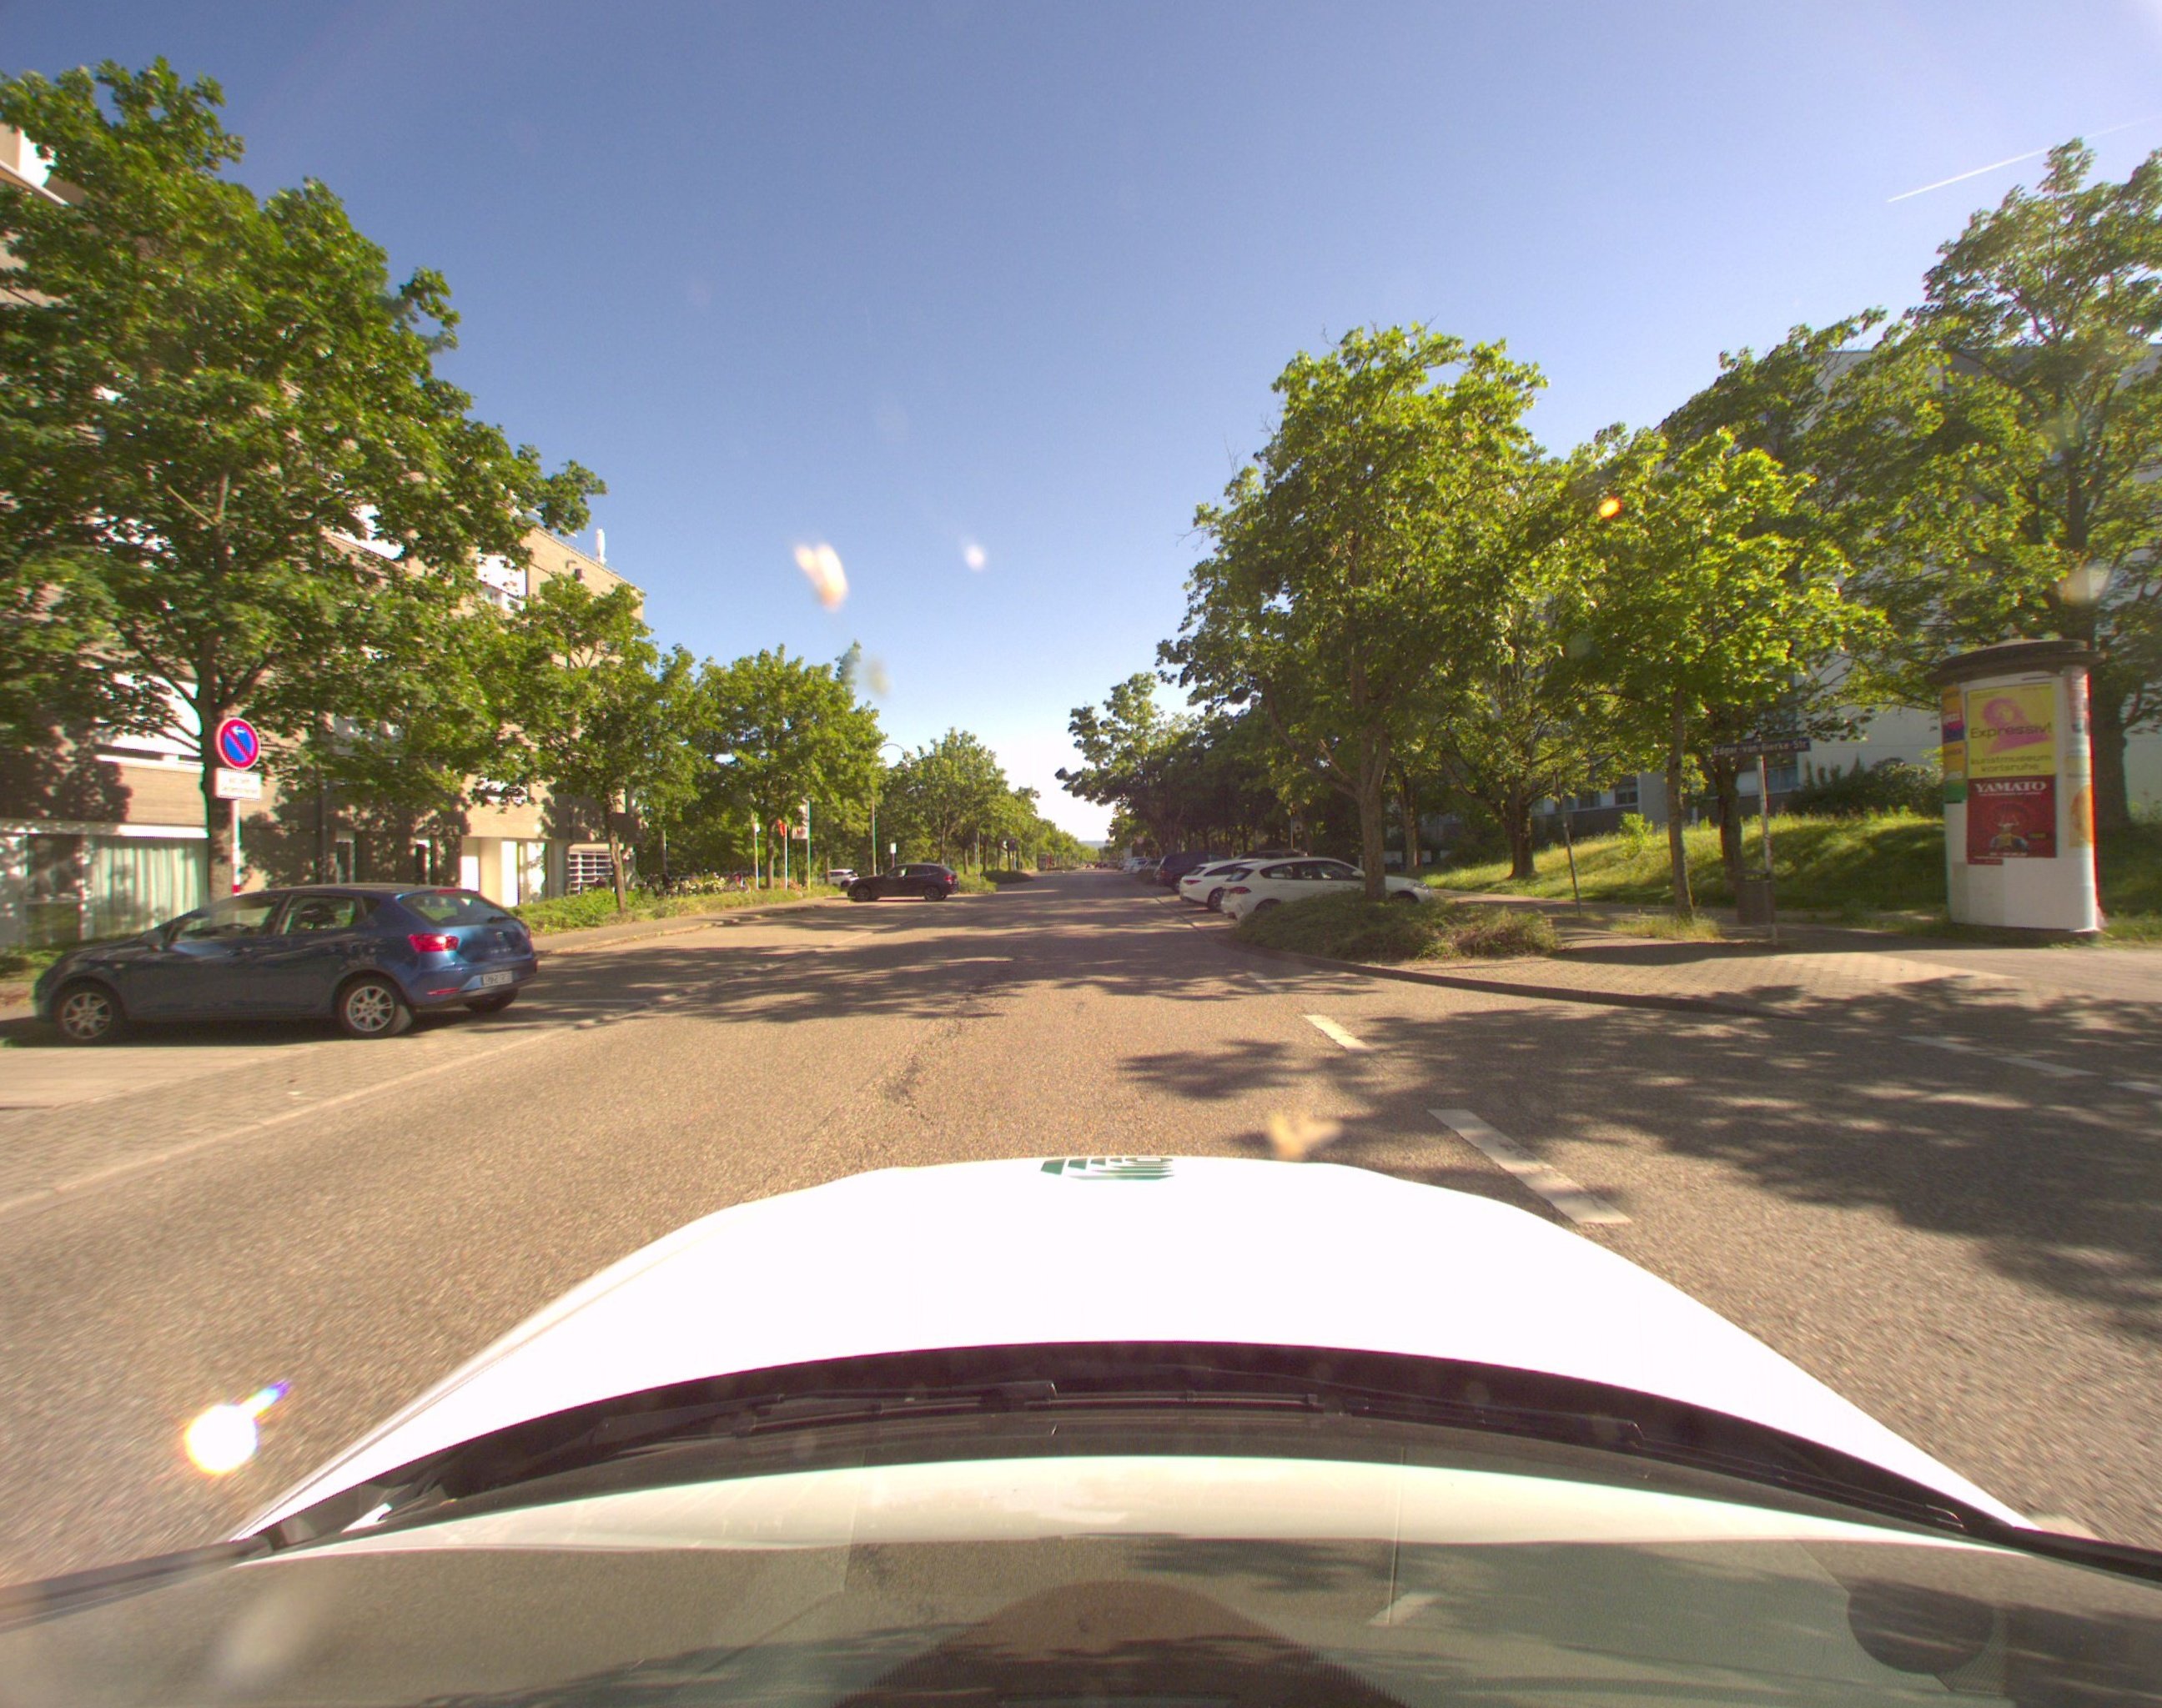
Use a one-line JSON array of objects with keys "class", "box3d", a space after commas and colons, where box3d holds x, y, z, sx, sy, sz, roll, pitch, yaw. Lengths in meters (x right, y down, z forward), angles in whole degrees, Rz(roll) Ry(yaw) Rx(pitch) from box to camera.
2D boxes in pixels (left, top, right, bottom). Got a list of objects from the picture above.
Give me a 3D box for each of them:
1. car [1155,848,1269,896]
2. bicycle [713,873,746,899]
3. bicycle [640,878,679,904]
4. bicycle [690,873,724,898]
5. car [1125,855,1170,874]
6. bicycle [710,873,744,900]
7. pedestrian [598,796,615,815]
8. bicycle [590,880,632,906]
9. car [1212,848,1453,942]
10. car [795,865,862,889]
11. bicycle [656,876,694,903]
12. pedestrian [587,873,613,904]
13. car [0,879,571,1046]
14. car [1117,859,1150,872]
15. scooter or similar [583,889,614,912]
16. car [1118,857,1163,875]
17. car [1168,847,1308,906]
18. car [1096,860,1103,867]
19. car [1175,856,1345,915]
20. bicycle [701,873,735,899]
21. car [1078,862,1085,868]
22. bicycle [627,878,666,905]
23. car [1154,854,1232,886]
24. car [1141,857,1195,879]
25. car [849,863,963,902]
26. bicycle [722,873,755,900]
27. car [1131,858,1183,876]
[{"class": "car", "box3d": [5.587, 0.753, 35.250, 4.570, 1.779, 2.000, -3, -1, 1]}, {"class": "bicycle", "box3d": [-15.380, 1.385, 35.724, 0.435, 1.047, 2.194, -1, -1, 2]}, {"class": "bicycle", "box3d": [-17.819, 1.545, 34.453, 0.435, 1.047, 2.194, -1, -1, 2]}, {"class": "bicycle", "box3d": [-16.390, 1.375, 35.764, 0.435, 1.047, 2.194, -1, -1, 2]}, {"class": "car", "box3d": [6.815, 1.112, 84.271, 4.422, 1.647, 1.815, -4, 0, -1]}, {"class": "bicycle", "box3d": [-14.842, 1.353, 34.199, 0.435, 1.047, 2.194, -1, -1, 2]}, {"class": "pedestrian", "box3d": [-17.876, -1.844, 30.697, 0.415, 0.686, 0.426, 0, -1, -8]}, {"class": "bicycle", "box3d": [-19.828, 1.629, 34.406, 0.435, 1.047, 2.194, -1, -1, 2]}, {"class": "car", "box3d": [5.146, 0.820, 17.056, 4.415, 1.593, 1.835, -3, -1, -2]}, {"class": "car", "box3d": [-17.573, 1.575, 56.677, 4.061, 1.451, 1.626, -3, -1, 2]}, {"class": "bicycle", "box3d": [-17.009, 1.472, 34.171, 0.435, 1.047, 2.194, -1, -1, 2]}, {"class": "pedestrian", "box3d": [-21.326, 1.521, 36.118, 0.740, 1.334, 0.670, -2, -1, 2]}, {"class": "car", "box3d": [-7.808, 1.005, 8.326, 3.977, 1.411, 1.815, -1, -1, -3]}, {"class": "car", "box3d": [6.777, 1.513, 105.940, 4.150, 1.428, 2.000, -4, -1, 1]}, {"class": "scooter or similar", "box3d": [-21.360, 2.038, 36.073, 0.799, 0.954, 0.869, -3, -1, 5]}, {"class": "car", "box3d": [5.922, 1.233, 81.580, 4.330, 1.489, 1.737, -4, -1, -1]}, {"class": "car", "box3d": [5.007, 0.729, 26.304, 4.106, 1.618, 1.733, -3, -2, -1]}, {"class": "car", "box3d": [5.602, 2.908, 241.208, 1.986, 2.014, 4.001, -1, -1, 2]}, {"class": "car", "box3d": [4.996, 0.871, 23.145, 4.430, 1.545, 1.816, -1, -1, -2]}, {"class": "bicycle", "box3d": [-15.898, 1.379, 35.740, 0.435, 1.047, 2.194, -1, -1, 2]}, {"class": "car", "box3d": [0.262, 3.468, 261.412, 1.986, 1.802, 4.001, -1, -1, 2]}, {"class": "bicycle", "box3d": [-18.353, 1.561, 34.461, 0.435, 1.047, 2.194, -1, -1, 2]}, {"class": "car", "box3d": [6.043, 0.862, 44.432, 3.973, 1.387, 1.823, -4, -1, 1]}, {"class": "car", "box3d": [6.670, 1.073, 62.858, 3.972, 1.451, 1.717, -3, 0, 1]}, {"class": "car", "box3d": [-7.010, 1.139, 32.943, 4.176, 1.520, 1.772, -1, -1, 2]}, {"class": "bicycle", "box3d": [-14.361, 1.347, 34.201, 0.435, 1.047, 2.194, -1, -1, 2]}, {"class": "car", "box3d": [6.347, 1.063, 67.672, 4.253, 1.428, 1.830, -1, -1, 5]}]
